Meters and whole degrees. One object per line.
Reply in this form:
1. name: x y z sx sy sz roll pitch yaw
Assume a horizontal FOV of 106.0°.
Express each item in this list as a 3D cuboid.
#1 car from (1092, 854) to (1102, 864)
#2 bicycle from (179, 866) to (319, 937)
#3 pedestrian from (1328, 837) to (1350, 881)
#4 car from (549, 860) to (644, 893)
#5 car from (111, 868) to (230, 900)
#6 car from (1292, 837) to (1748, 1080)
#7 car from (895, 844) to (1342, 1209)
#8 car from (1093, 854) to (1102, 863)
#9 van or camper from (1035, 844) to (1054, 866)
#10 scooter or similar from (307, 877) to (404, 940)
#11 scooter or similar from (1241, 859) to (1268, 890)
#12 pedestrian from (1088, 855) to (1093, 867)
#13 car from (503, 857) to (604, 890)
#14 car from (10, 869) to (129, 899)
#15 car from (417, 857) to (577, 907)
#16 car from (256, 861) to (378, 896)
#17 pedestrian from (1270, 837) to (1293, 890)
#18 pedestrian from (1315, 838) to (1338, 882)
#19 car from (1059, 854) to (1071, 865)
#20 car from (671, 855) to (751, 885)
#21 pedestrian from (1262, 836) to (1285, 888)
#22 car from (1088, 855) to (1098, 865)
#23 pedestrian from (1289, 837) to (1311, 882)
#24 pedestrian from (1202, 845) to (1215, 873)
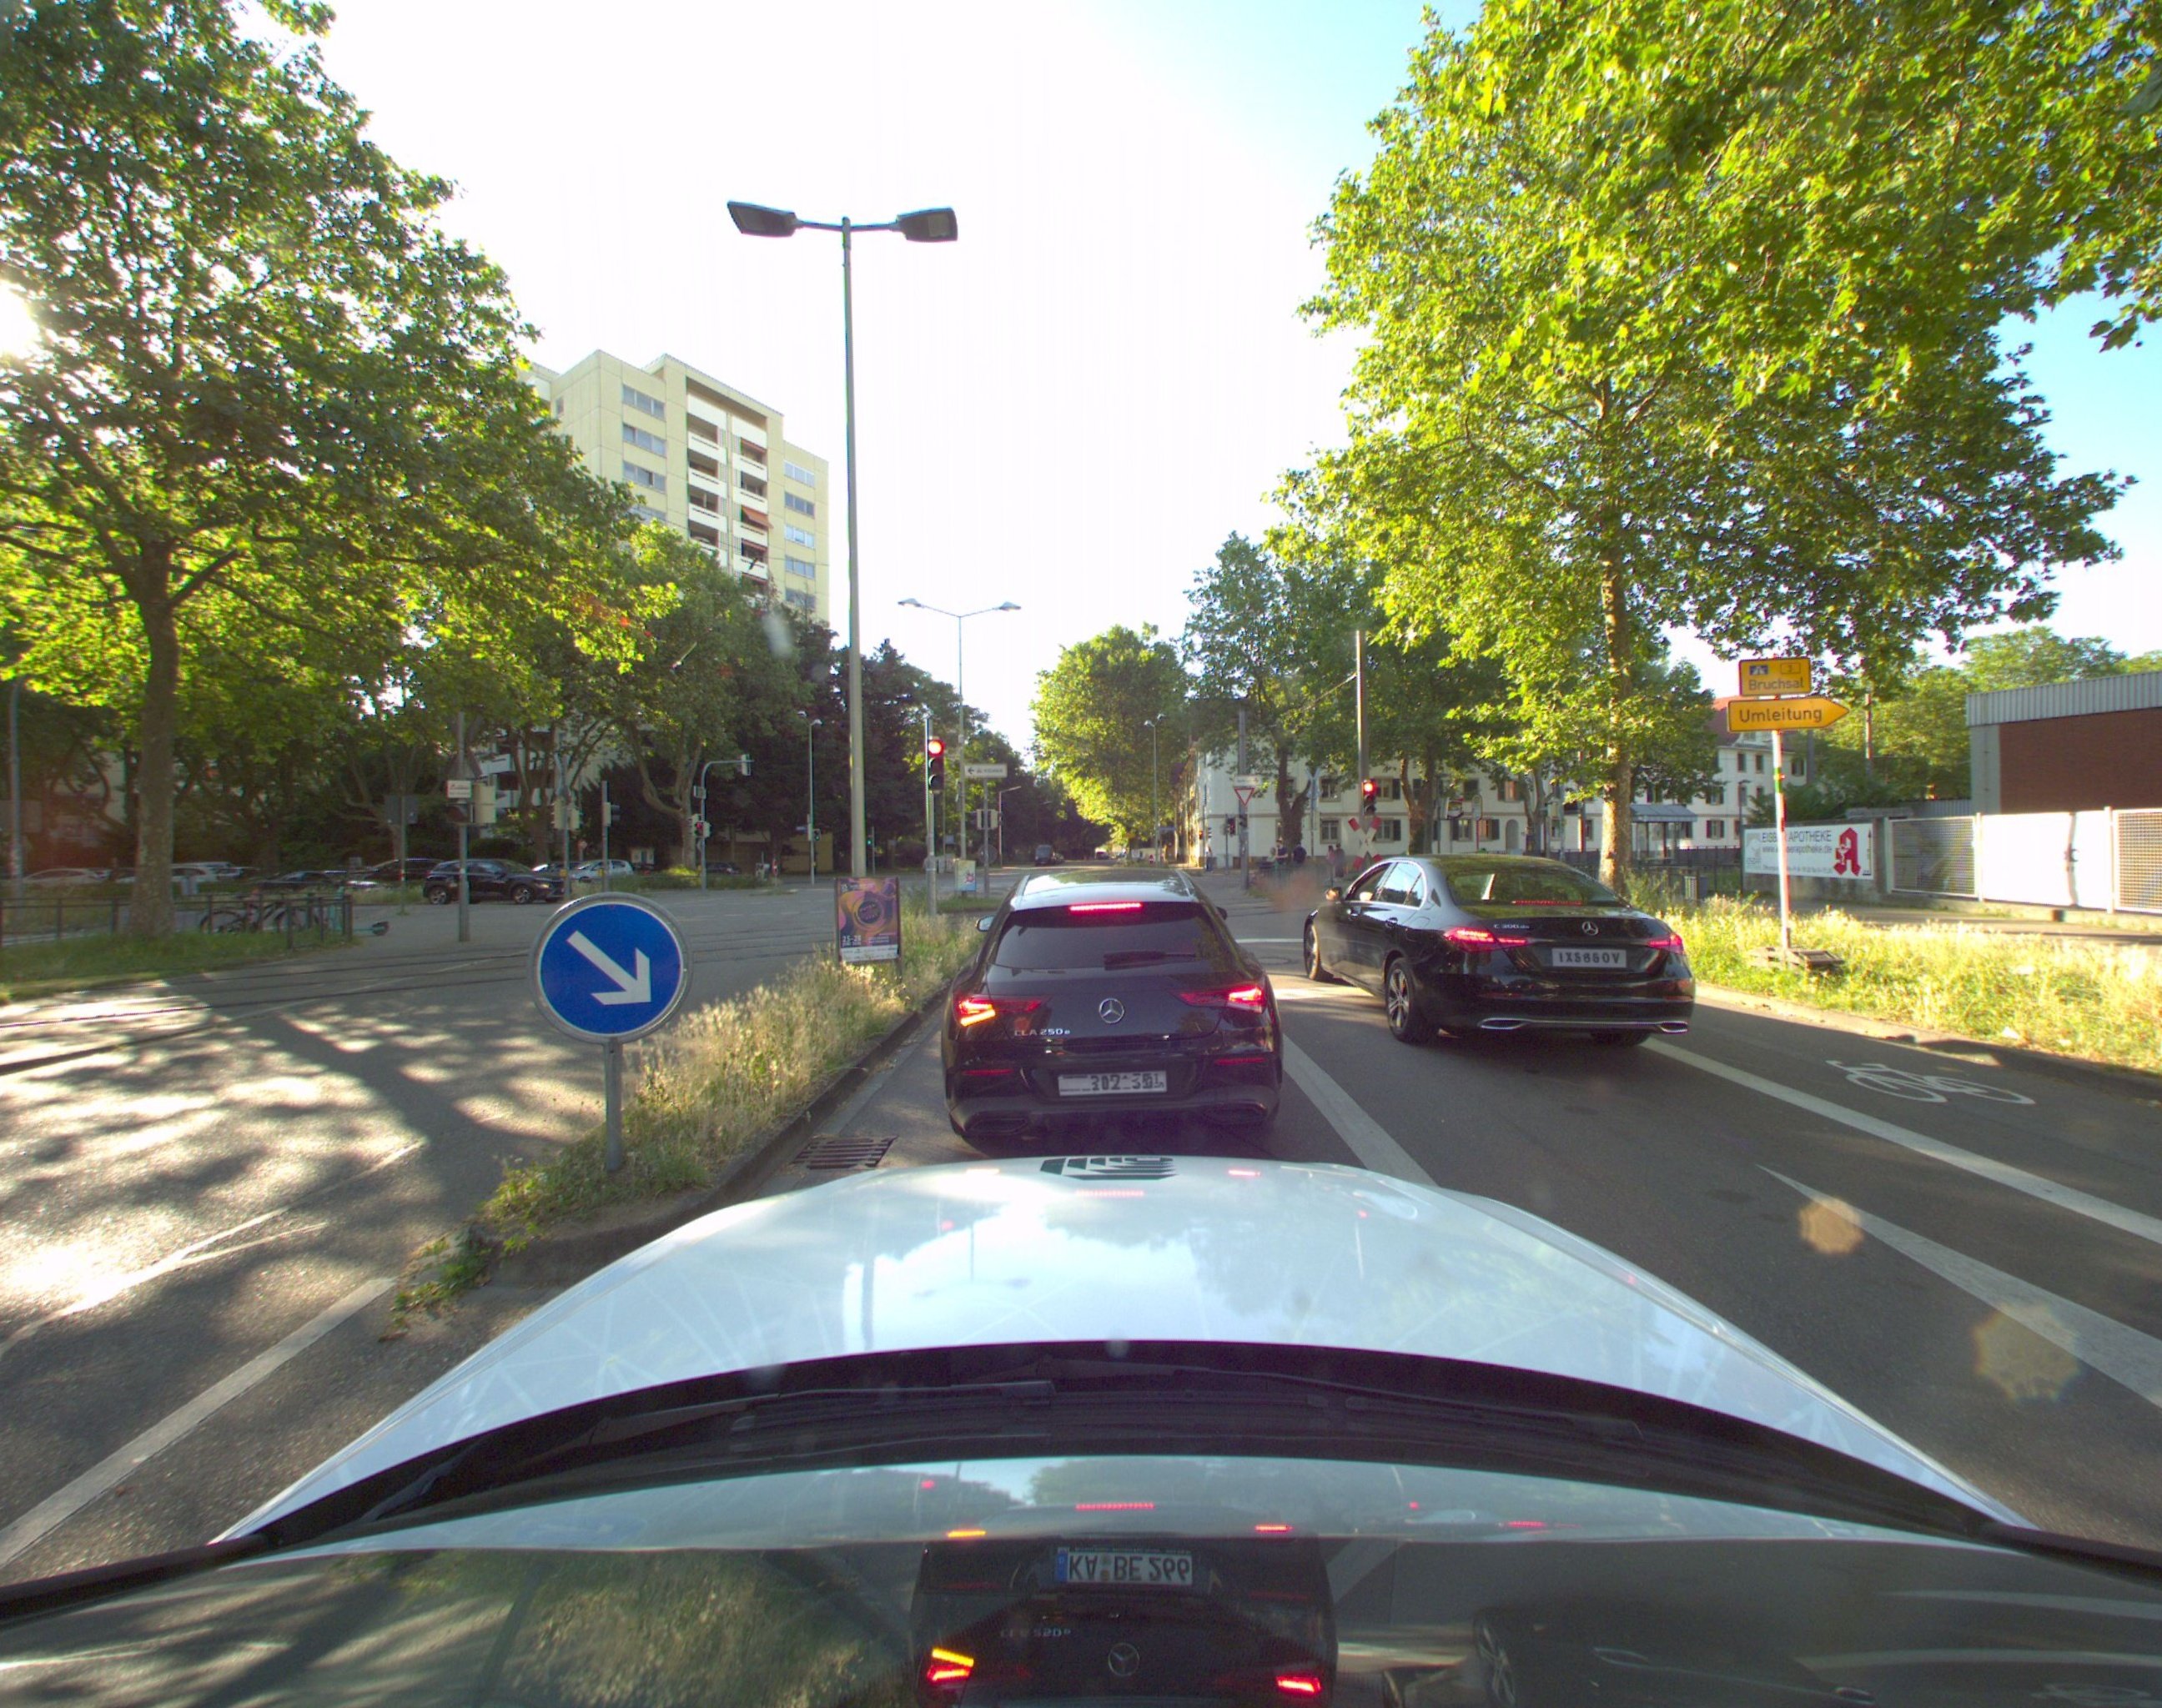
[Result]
1. car: 2.907 0.985 150.536 1.727 1.765 4.020 0 -1 2
2. bicycle: -15.958 0.888 15.664 1.845 1.307 0.380 0 -1 -26
3. pedestrian: 11.567 0.232 36.534 0.703 1.918 0.838 0 -1 -2
4. car: -24.929 1.130 42.020 1.716 1.596 3.831 -1 -1 32
5. car: -49.166 1.591 44.065 1.716 1.596 4.025 -1 -1 32
6. car: 3.361 0.624 7.388 1.882 1.490 4.384 0 2 2
7. car: 0.267 0.709 5.448 1.881 1.450 4.004 0 2 3
8. car: 3.237 0.907 158.618 1.727 1.765 4.020 0 -1 2
9. van or camper: -4.425 0.133 100.045 1.986 2.541 4.653 0 -1 2
10. scooter or similar: -15.098 1.109 16.977 0.408 1.239 1.450 -1 -1 40
11. scooter or similar: 6.463 0.754 30.360 0.826 1.104 0.808 0 -1 -4
12. pedestrian: 1.530 1.056 130.195 0.704 1.918 0.837 0 -1 -8
13. car: -27.225 0.977 42.155 1.716 1.596 4.025 -1 -1 32
14. car: -57.107 1.669 46.068 1.716 1.596 4.025 -1 -1 32
15. car: -19.465 0.912 27.274 3.981 1.596 1.735 0 -1 -5
16. car: -37.420 1.148 39.992 1.716 1.596 4.025 -1 -1 32
17. pedestrian: 7.407 0.345 30.078 0.680 1.918 0.707 0 -1 0
18. pedestrian: 10.717 0.260 35.554 0.703 1.918 0.838 0 -1 -2
19. car: -2.479 0.832 126.671 1.727 1.765 3.972 0 -1 2
20. car: -22.645 0.961 49.916 3.963 1.774 2.005 -1 -1 9
21. pedestrian: 7.282 0.299 30.854 0.681 1.918 0.707 0 -1 -2
22. car: 2.095 1.013 145.731 1.727 1.765 4.020 0 -1 2
23. pedestrian: 9.381 0.245 34.927 0.703 1.918 0.838 0 -1 -2
24. pedestrian: 8.596 0.338 55.049 0.703 1.918 0.838 0 -1 -2
